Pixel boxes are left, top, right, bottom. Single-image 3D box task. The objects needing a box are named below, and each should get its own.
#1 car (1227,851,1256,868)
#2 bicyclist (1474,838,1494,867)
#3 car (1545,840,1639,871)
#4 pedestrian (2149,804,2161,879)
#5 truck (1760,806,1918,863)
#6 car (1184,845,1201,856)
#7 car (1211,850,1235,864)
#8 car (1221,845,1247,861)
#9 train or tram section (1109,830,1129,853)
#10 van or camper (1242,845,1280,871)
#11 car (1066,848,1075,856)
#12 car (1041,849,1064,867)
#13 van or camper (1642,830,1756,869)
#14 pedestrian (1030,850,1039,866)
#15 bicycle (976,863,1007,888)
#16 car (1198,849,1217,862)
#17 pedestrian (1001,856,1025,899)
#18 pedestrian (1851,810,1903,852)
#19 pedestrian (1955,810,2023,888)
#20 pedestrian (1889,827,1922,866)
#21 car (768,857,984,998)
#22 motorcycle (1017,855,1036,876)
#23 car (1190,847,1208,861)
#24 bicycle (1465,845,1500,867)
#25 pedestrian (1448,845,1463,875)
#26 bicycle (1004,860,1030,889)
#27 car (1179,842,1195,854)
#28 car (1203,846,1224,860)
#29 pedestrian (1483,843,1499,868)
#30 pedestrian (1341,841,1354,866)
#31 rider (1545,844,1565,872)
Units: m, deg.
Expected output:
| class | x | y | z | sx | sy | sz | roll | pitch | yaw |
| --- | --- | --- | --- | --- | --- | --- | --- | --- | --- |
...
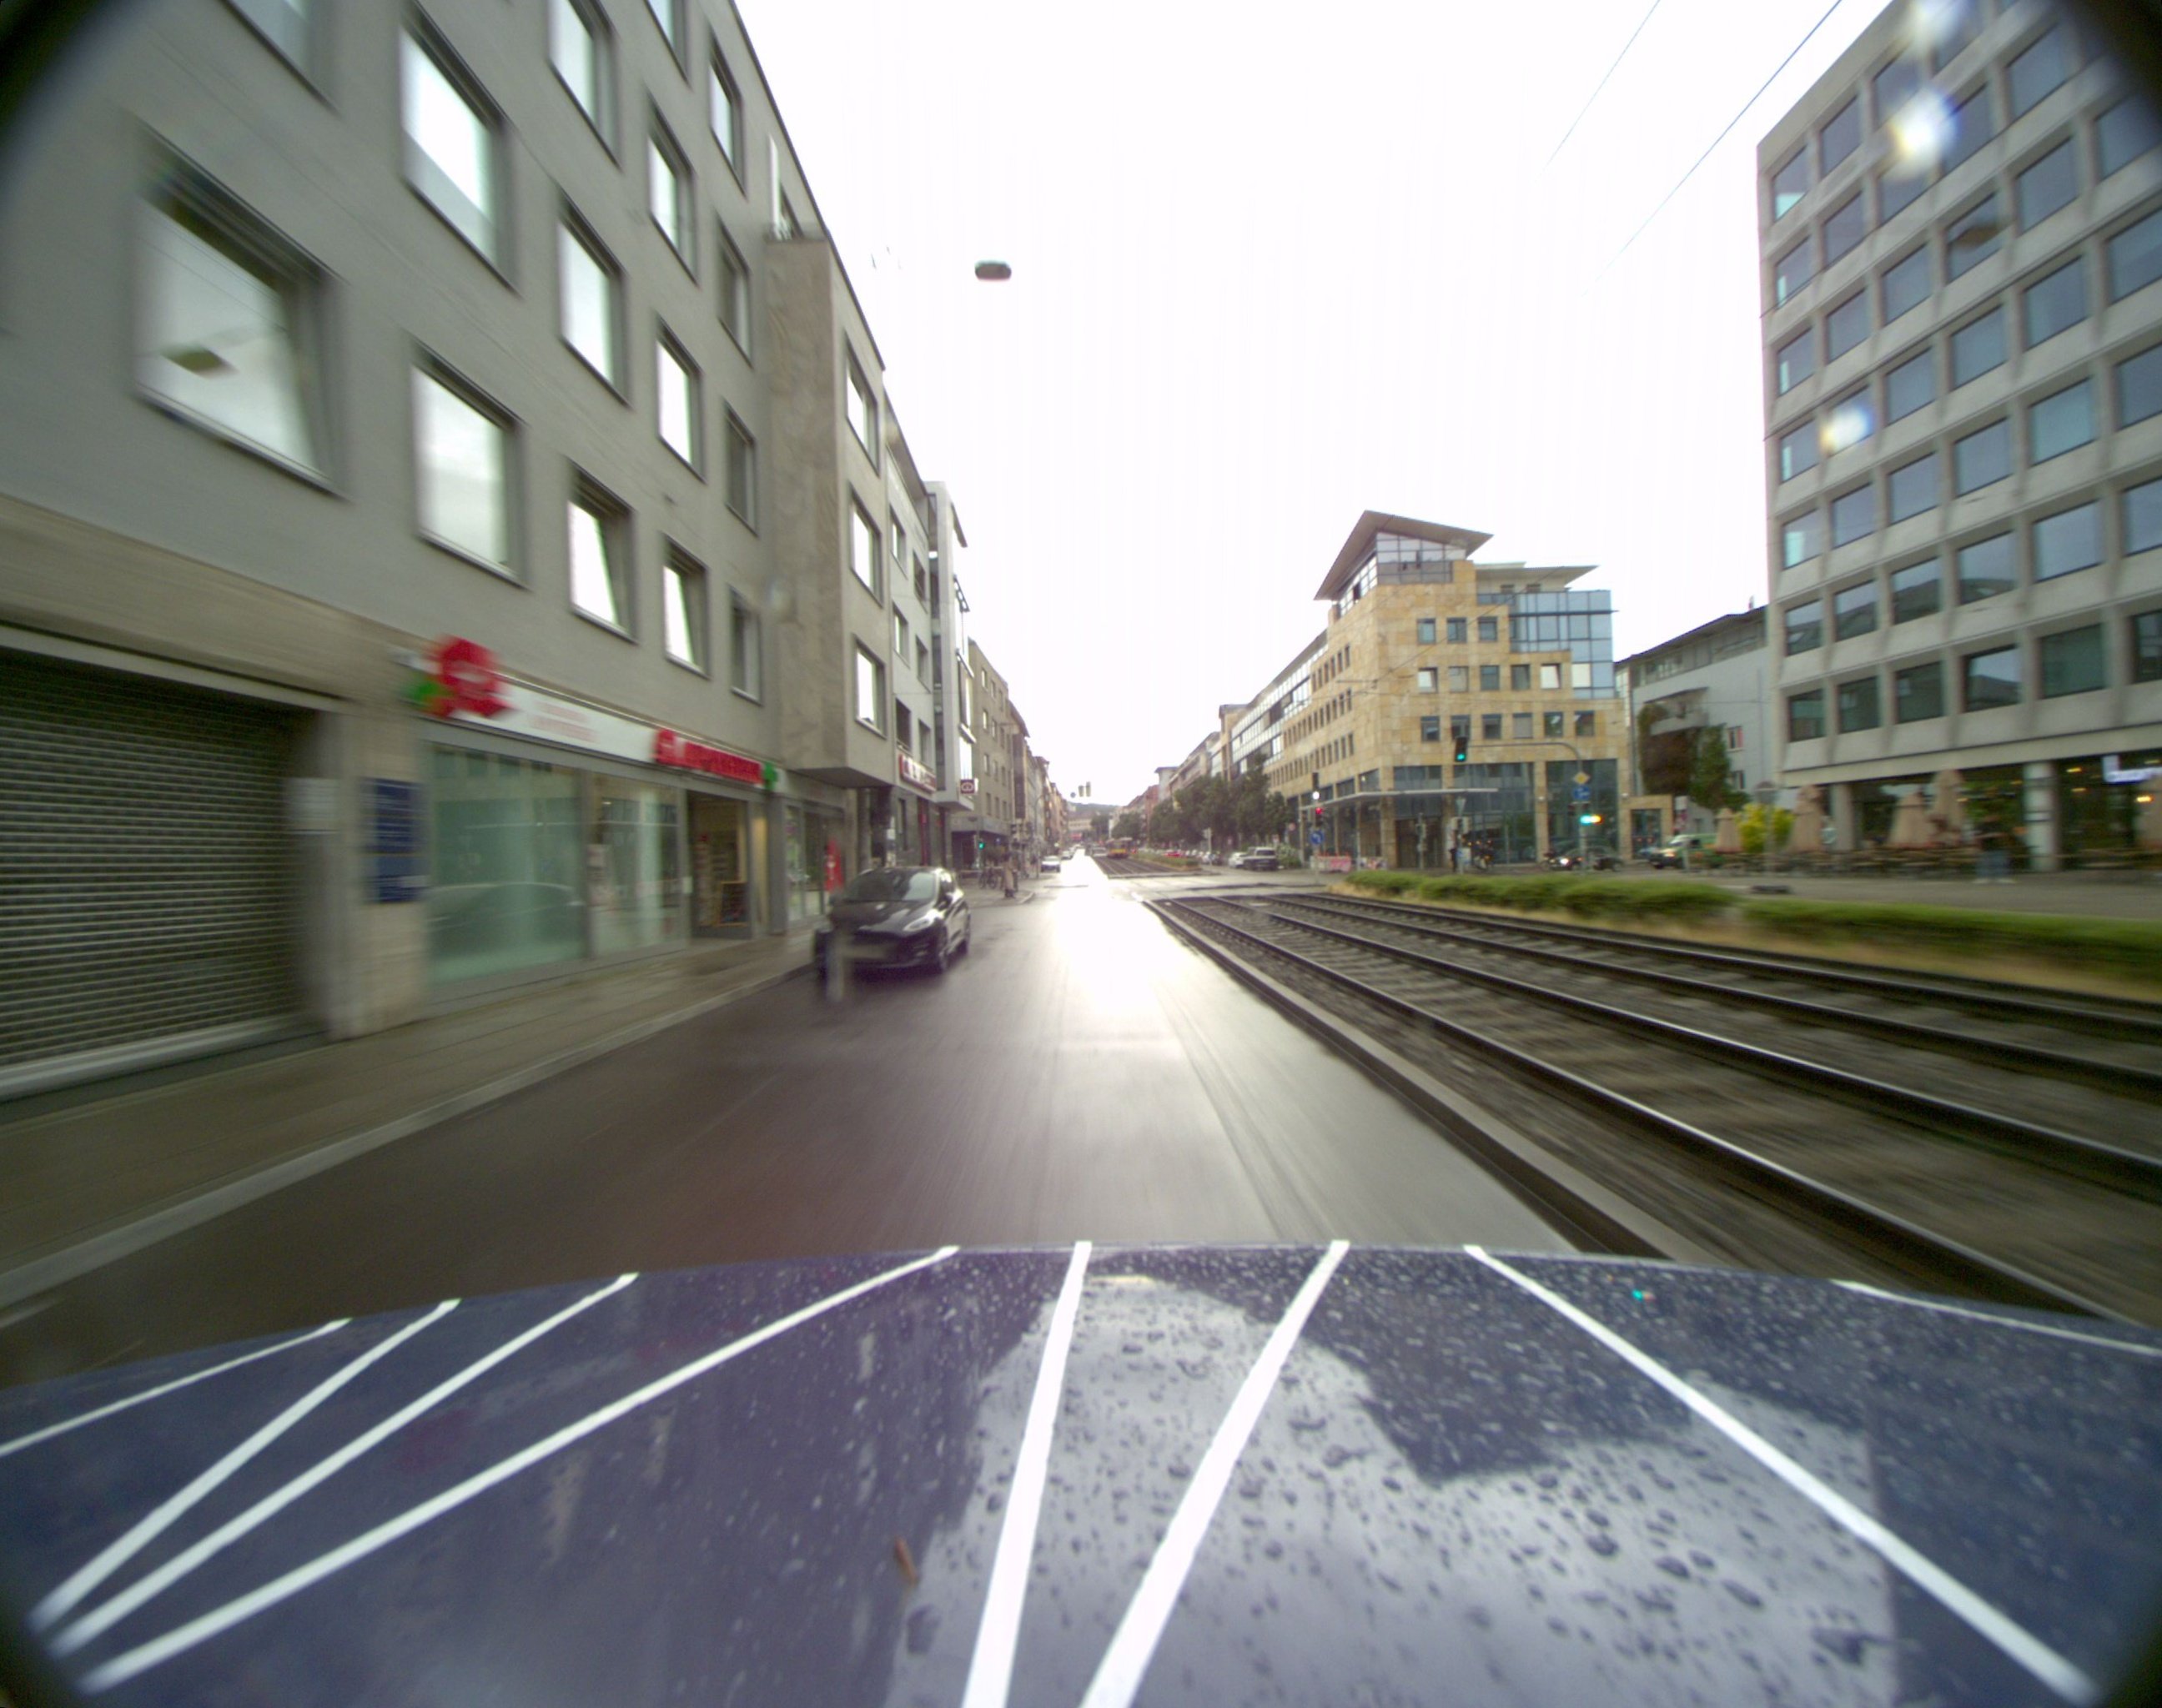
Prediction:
| class | x | y | z | sx | sy | sz | roll | pitch | yaw |
| --- | --- | --- | --- | --- | --- | --- | --- | --- | --- |
| car | 15.105 | 0.470 | 71.686 | 1.693 | 1.477 | 4.255 | -2 | 0 | -1 |
| bicyclist | 24.792 | -0.096 | 46.757 | 0.710 | 1.794 | 0.784 | -2 | 1 | 0 |
| car | 28.754 | 0.086 | 42.853 | 3.996 | 1.521 | 1.891 | -2 | 0 | 1 |
| pedestrian | 25.424 | -0.295 | 17.449 | 0.566 | 1.738 | 0.844 | -2 | 1 | -4 |
| truck | 46.028 | -1.166 | 46.261 | 7.167 | 3.145 | 2.461 | -2 | 0 | -1 |
| car | 15.324 | -0.499 | 104.435 | 1.653 | 1.532 | 4.621 | -1 | 1 | 1 |
| car | 15.383 | 0.337 | 82.328 | 1.693 | 1.477 | 3.999 | -2 | 0 | -1 |
| car | 15.575 | -0.080 | 77.578 | 1.693 | 1.477 | 4.295 | -2 | 0 | -2 |
| train or tram section | 7.298 | -2.440 | 146.604 | 2.909 | 4.027 | 18.762 | -1 | 1 | 0 |
| van or camper | 15.147 | 0.303 | 64.256 | 2.022 | 1.986 | 5.196 | -2 | 2 | 1 |
| car | -1.940 | -0.363 | 140.731 | 1.653 | 1.489 | 4.066 | -1 | 1 | 1 |
| car | -2.702 | 0.335 | 73.343 | 2.029 | 1.585 | 4.619 | -1 | 1 | -1 |
| van or camper | 37.023 | -0.275 | 45.601 | 5.095 | 2.050 | 2.096 | -2 | 0 | -1 |
| pedestrian | -4.860 | 0.413 | 79.976 | 0.793 | 1.650 | 0.721 | -3 | 1 | 0 |
| bicycle | -4.421 | 1.044 | 37.539 | 0.579 | 1.151 | 1.951 | -3 | 1 | -36 |
| car | 15.380 | 0.206 | 92.529 | 1.653 | 1.489 | 4.292 | -1 | 1 | 1 |
| pedestrian | -2.568 | 0.865 | 28.567 | 0.662 | 1.573 | 0.778 | -2 | 1 | -21 |
| pedestrian | 29.987 | -0.843 | 28.645 | 0.964 | 1.524 | 0.897 | -2 | 1 | 0 |
| pedestrian | 21.656 | -0.116 | 18.136 | 0.566 | 1.812 | 0.844 | -2 | 1 | -4 |
| pedestrian | 28.816 | -0.256 | 26.550 | 0.524 | 1.314 | 0.553 | -2 | 1 | 1 |
| car | -2.786 | 0.914 | 11.444 | 1.998 | 1.585 | 4.270 | -1 | 1 | 1 |
| motorcycle | -3.870 | 0.802 | 54.033 | 1.134 | 1.453 | 0.682 | -2 | 1 | -36 |
| car | 15.290 | -0.022 | 98.333 | 1.653 | 1.592 | 4.292 | -1 | 1 | 1 |
| bicycle | 24.733 | 0.133 | 46.799 | 1.768 | 1.303 | 0.660 | -2 | 1 | 0 |
| pedestrian | 22.181 | 0.358 | 44.988 | 0.677 | 1.771 | 0.705 | -2 | 1 | 35 |
| bicycle | -2.920 | 0.920 | 34.315 | 0.499 | 1.251 | 1.952 | -3 | 1 | -24 |
| car | 15.418 | -0.891 | 110.492 | 1.653 | 1.532 | 4.621 | -1 | 1 | 1 |
| car | 15.172 | -0.095 | 87.184 | 1.653 | 1.489 | 4.192 | -1 | 1 | 1 |
| pedestrian | 26.920 | 0.101 | 49.879 | 0.580 | 1.627 | 0.703 | -4 | 0 | 1 |
| pedestrian | 19.803 | -0.020 | 56.491 | 0.703 | 1.804 | 0.679 | -2 | 1 | 3 |
| rider | 29.313 | 0.230 | 46.958 | 0.710 | 1.666 | 0.784 | -2 | 1 | 0 |
